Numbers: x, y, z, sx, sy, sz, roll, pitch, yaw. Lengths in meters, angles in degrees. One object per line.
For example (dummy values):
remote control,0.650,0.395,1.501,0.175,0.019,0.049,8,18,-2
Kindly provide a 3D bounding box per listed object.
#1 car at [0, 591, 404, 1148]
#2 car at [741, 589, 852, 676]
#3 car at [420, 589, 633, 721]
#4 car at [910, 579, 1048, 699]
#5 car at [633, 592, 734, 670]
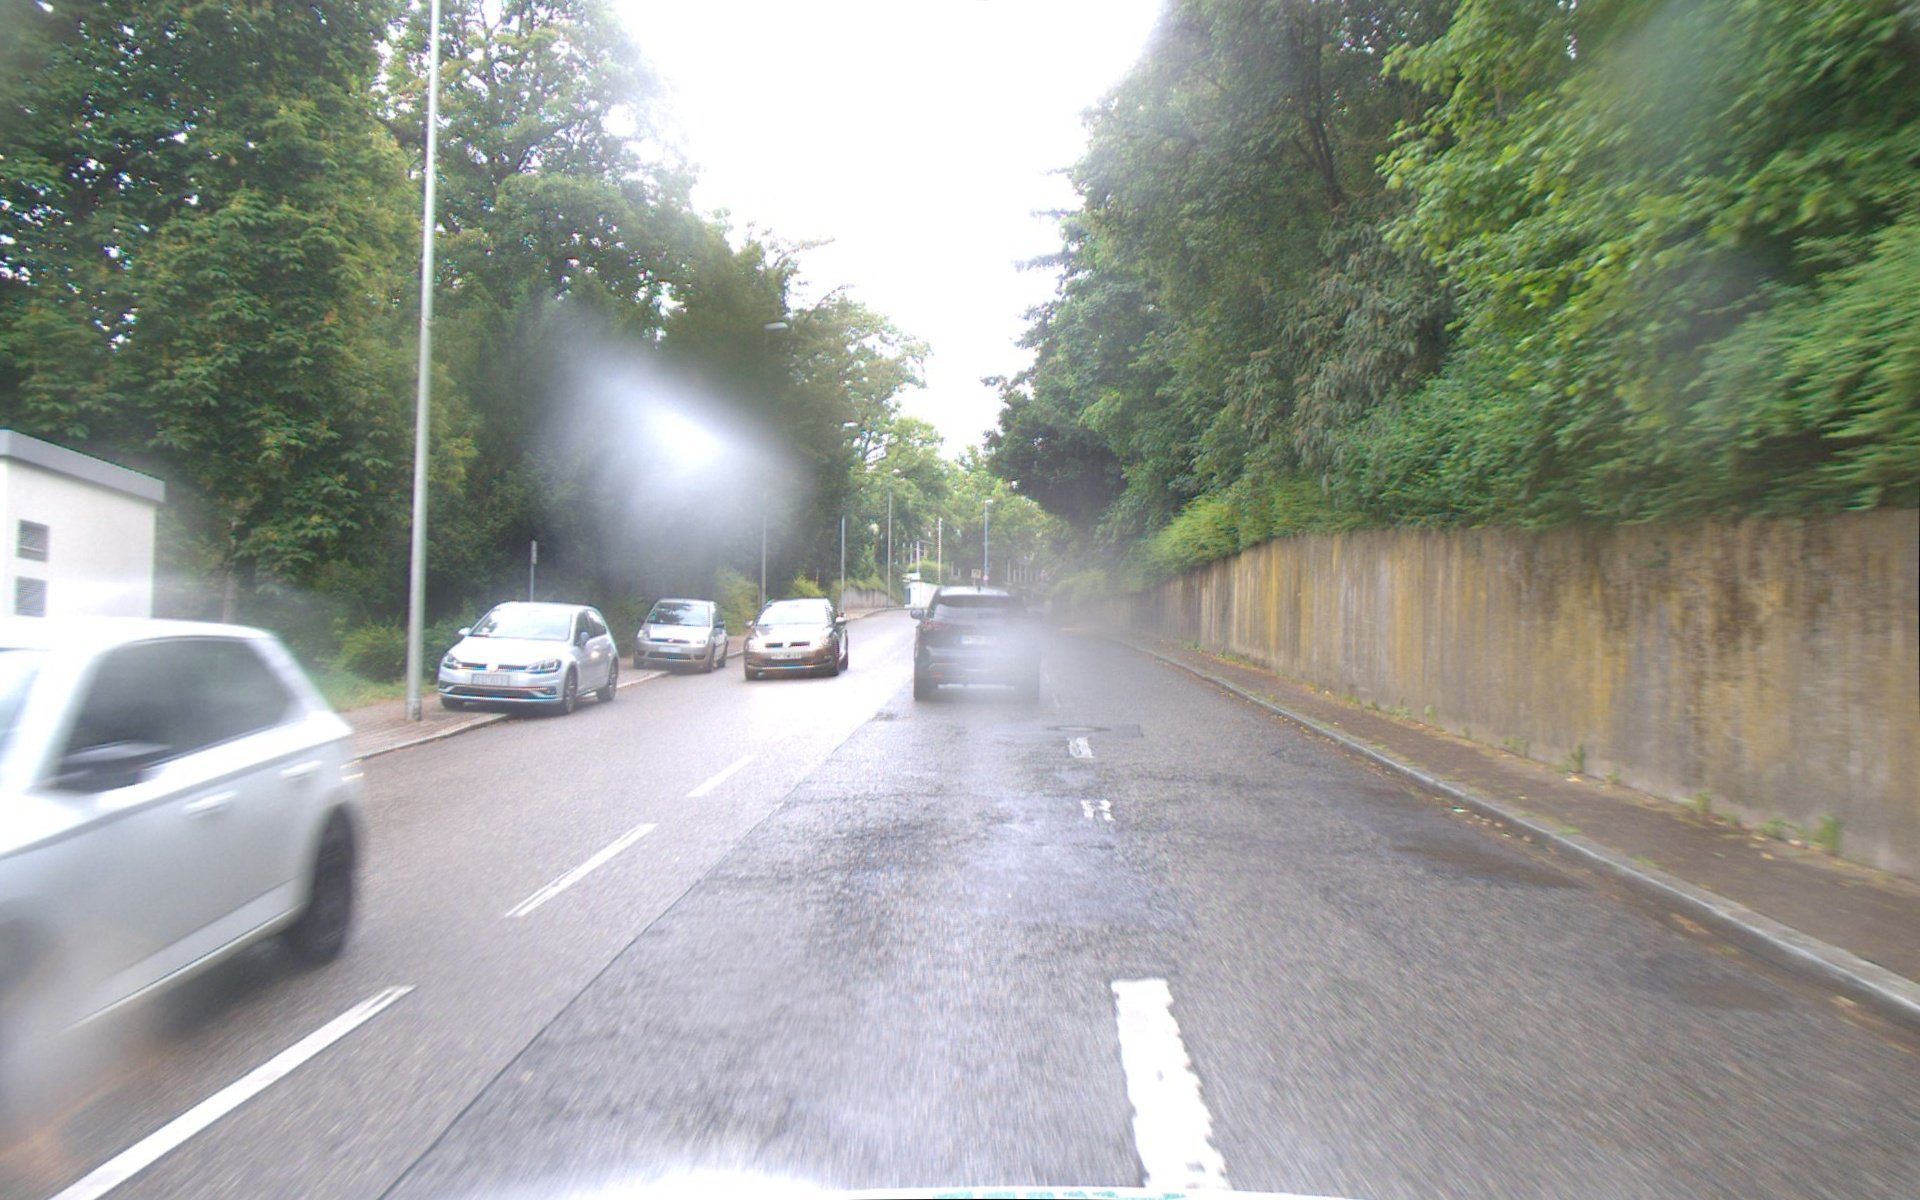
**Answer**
car,-3.405,0.747,5.567,1.689,1.460,3.912,-3,0,0
car,-3.080,0.568,31.862,1.725,1.517,3.999,-2,0,-1
car,-6.126,0.711,23.903,1.847,1.640,4.239,-3,0,1
car,0.266,0.521,24.541,1.889,1.641,4.000,0,0,0
car,-5.885,0.615,35.524,1.593,1.525,3.927,2,0,-2
